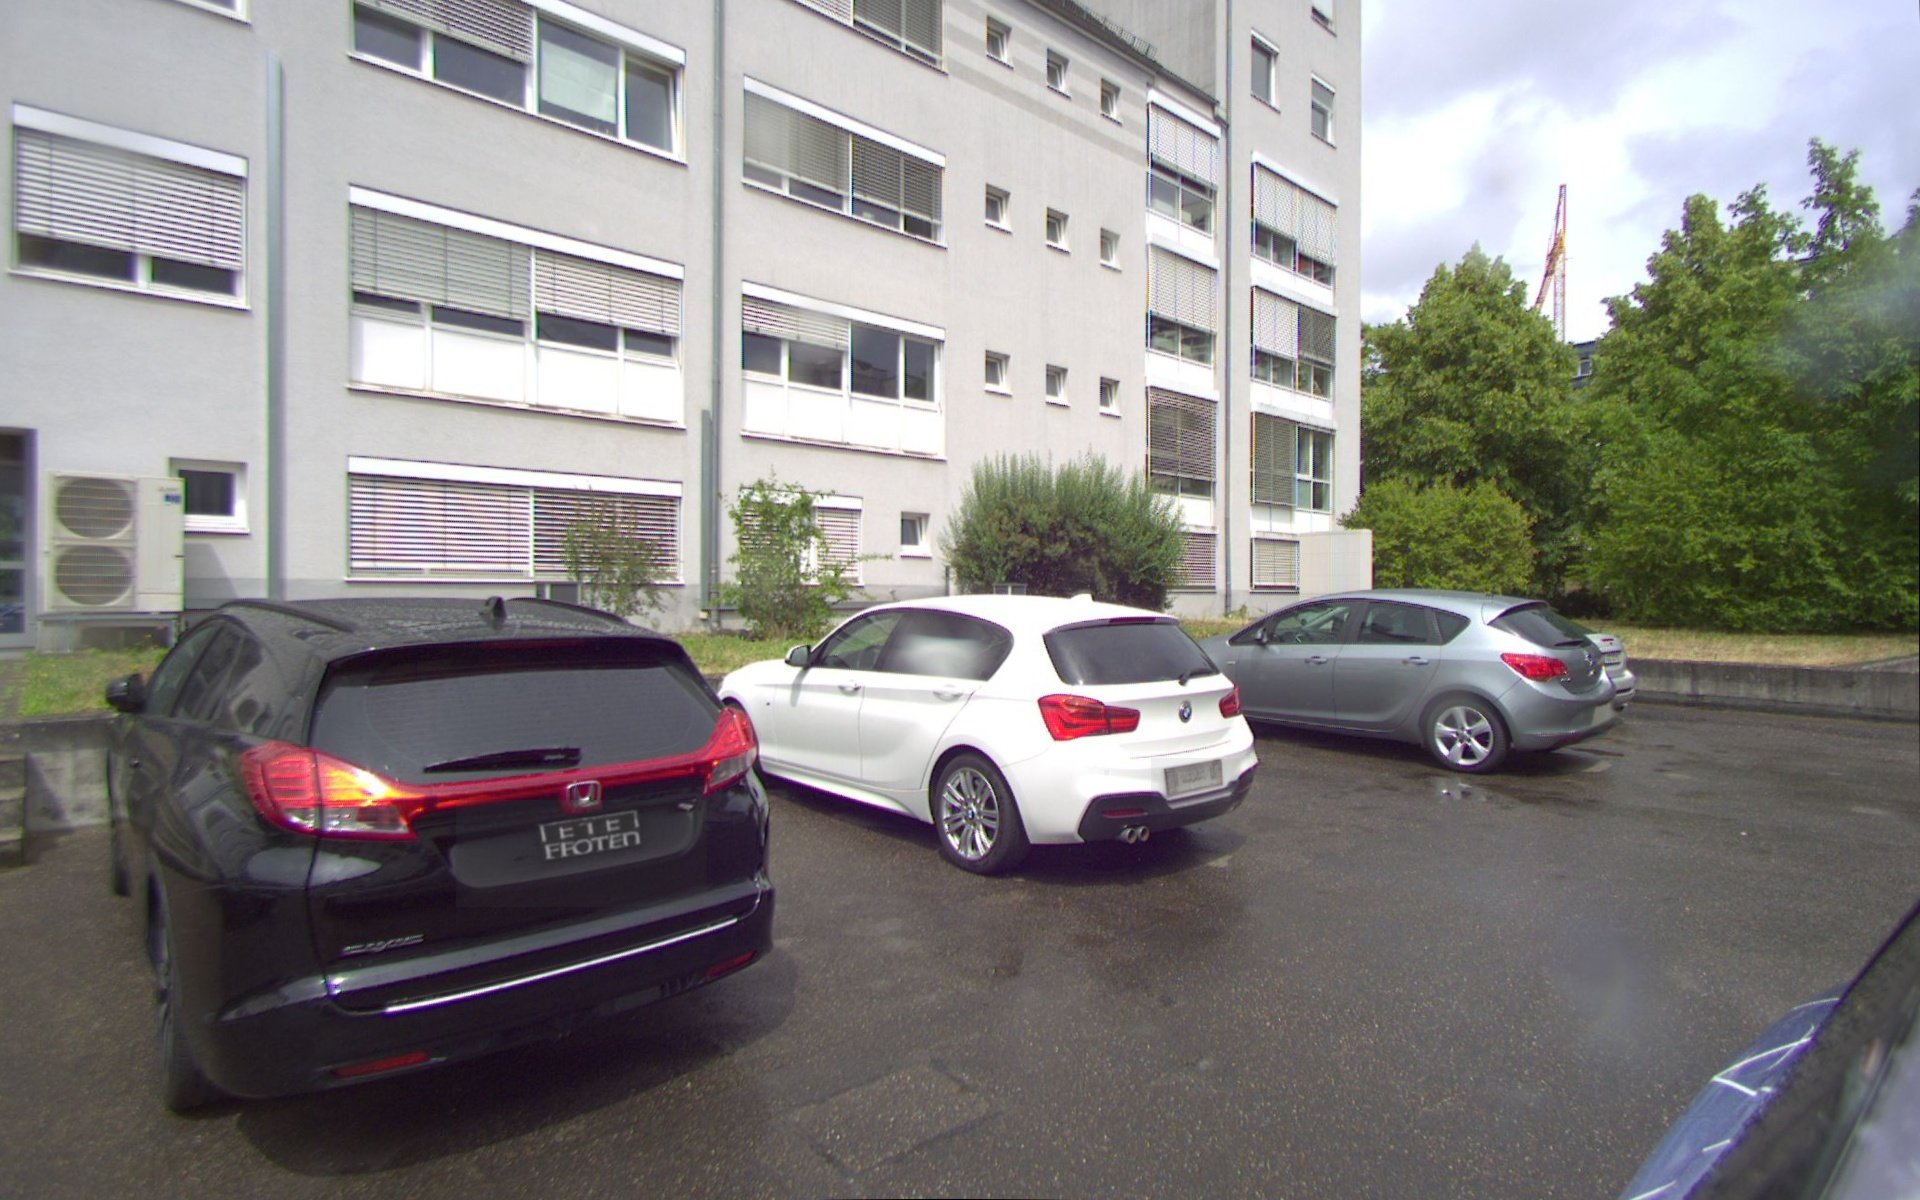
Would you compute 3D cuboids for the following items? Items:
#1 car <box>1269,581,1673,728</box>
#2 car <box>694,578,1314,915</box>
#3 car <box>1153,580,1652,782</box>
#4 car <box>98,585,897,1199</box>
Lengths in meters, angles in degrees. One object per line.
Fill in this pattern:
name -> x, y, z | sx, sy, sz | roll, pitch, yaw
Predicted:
car -> 5.970, 0.510, 12.264 | 1.758, 1.371, 4.000 | 0, 3, -36
car -> -0.017, 0.614, 6.676 | 1.801, 1.473, 4.106 | 0, 2, -40
car -> 3.958, 0.562, 9.652 | 1.639, 1.476, 4.088 | -1, 2, -39
car -> -2.309, 0.676, 4.291 | 1.907, 1.418, 4.175 | -1, 2, -42
